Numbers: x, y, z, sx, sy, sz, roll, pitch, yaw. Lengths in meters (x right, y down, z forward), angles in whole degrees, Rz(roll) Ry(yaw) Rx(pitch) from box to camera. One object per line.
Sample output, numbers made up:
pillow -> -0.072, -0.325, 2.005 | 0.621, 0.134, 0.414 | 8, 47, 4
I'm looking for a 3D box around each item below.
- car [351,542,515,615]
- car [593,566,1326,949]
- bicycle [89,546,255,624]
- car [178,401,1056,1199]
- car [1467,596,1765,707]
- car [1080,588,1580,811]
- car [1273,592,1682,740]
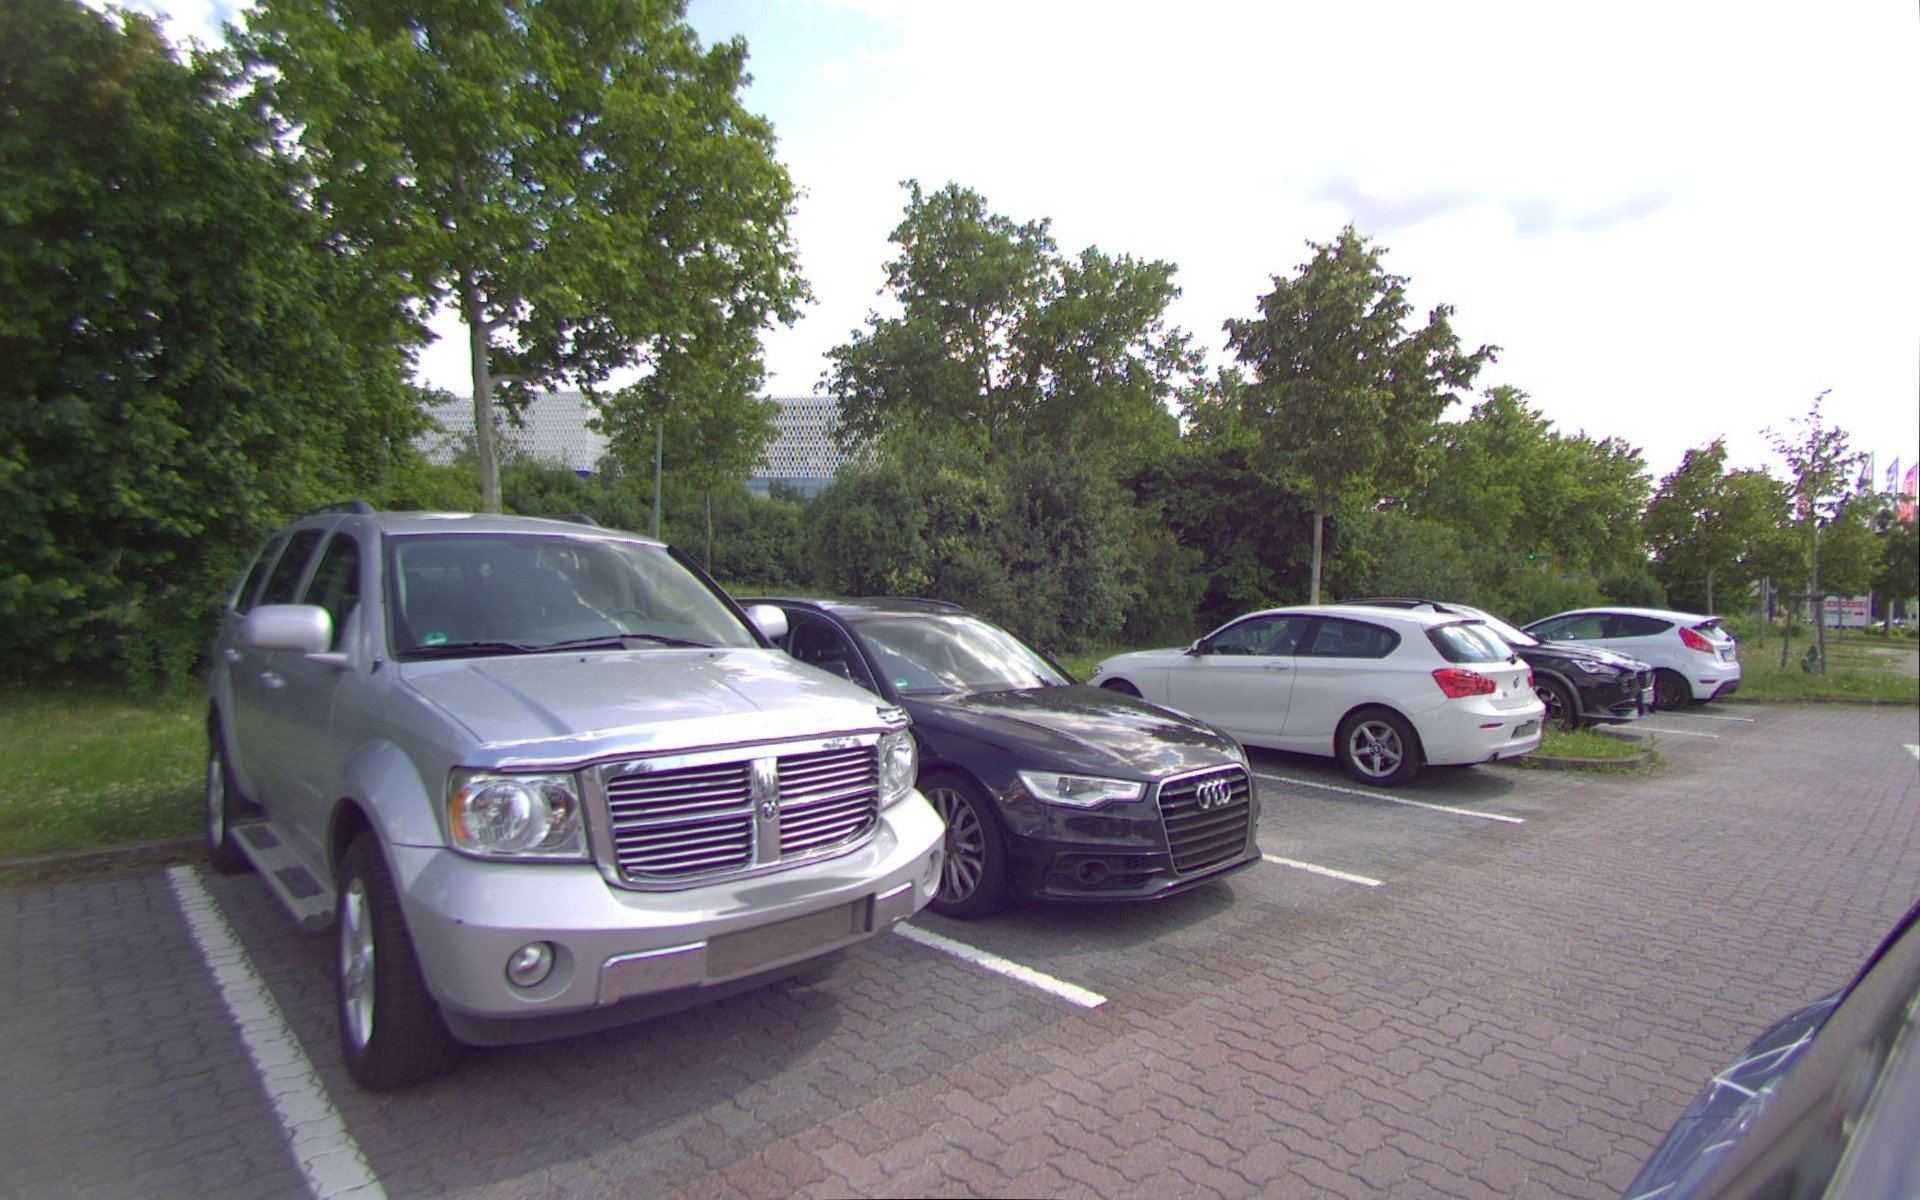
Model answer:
car -> -15.716, -0.622, 30.266 | 3.933, 2.039, 1.996 | 1, 1, -44
car -> -0.393, 0.567, 6.314 | 1.809, 1.469, 4.714 | 1, 1, -44
bicycle -> -11.201, -0.202, 14.435 | 1.839, 1.051, 0.526 | 0, -1, -43
car -> -2.139, 0.426, 4.760 | 1.957, 1.865, 5.137 | 1, 1, -43
car -> 10.125, 0.714, 15.823 | 1.640, 1.429, 3.555 | 1, 1, -38
car -> 3.213, 0.702, 9.440 | 1.661, 1.528, 4.075 | 0, 2, -42
car -> 6.294, 0.682, 12.690 | 1.704, 1.428, 4.234 | 1, 1, -43
